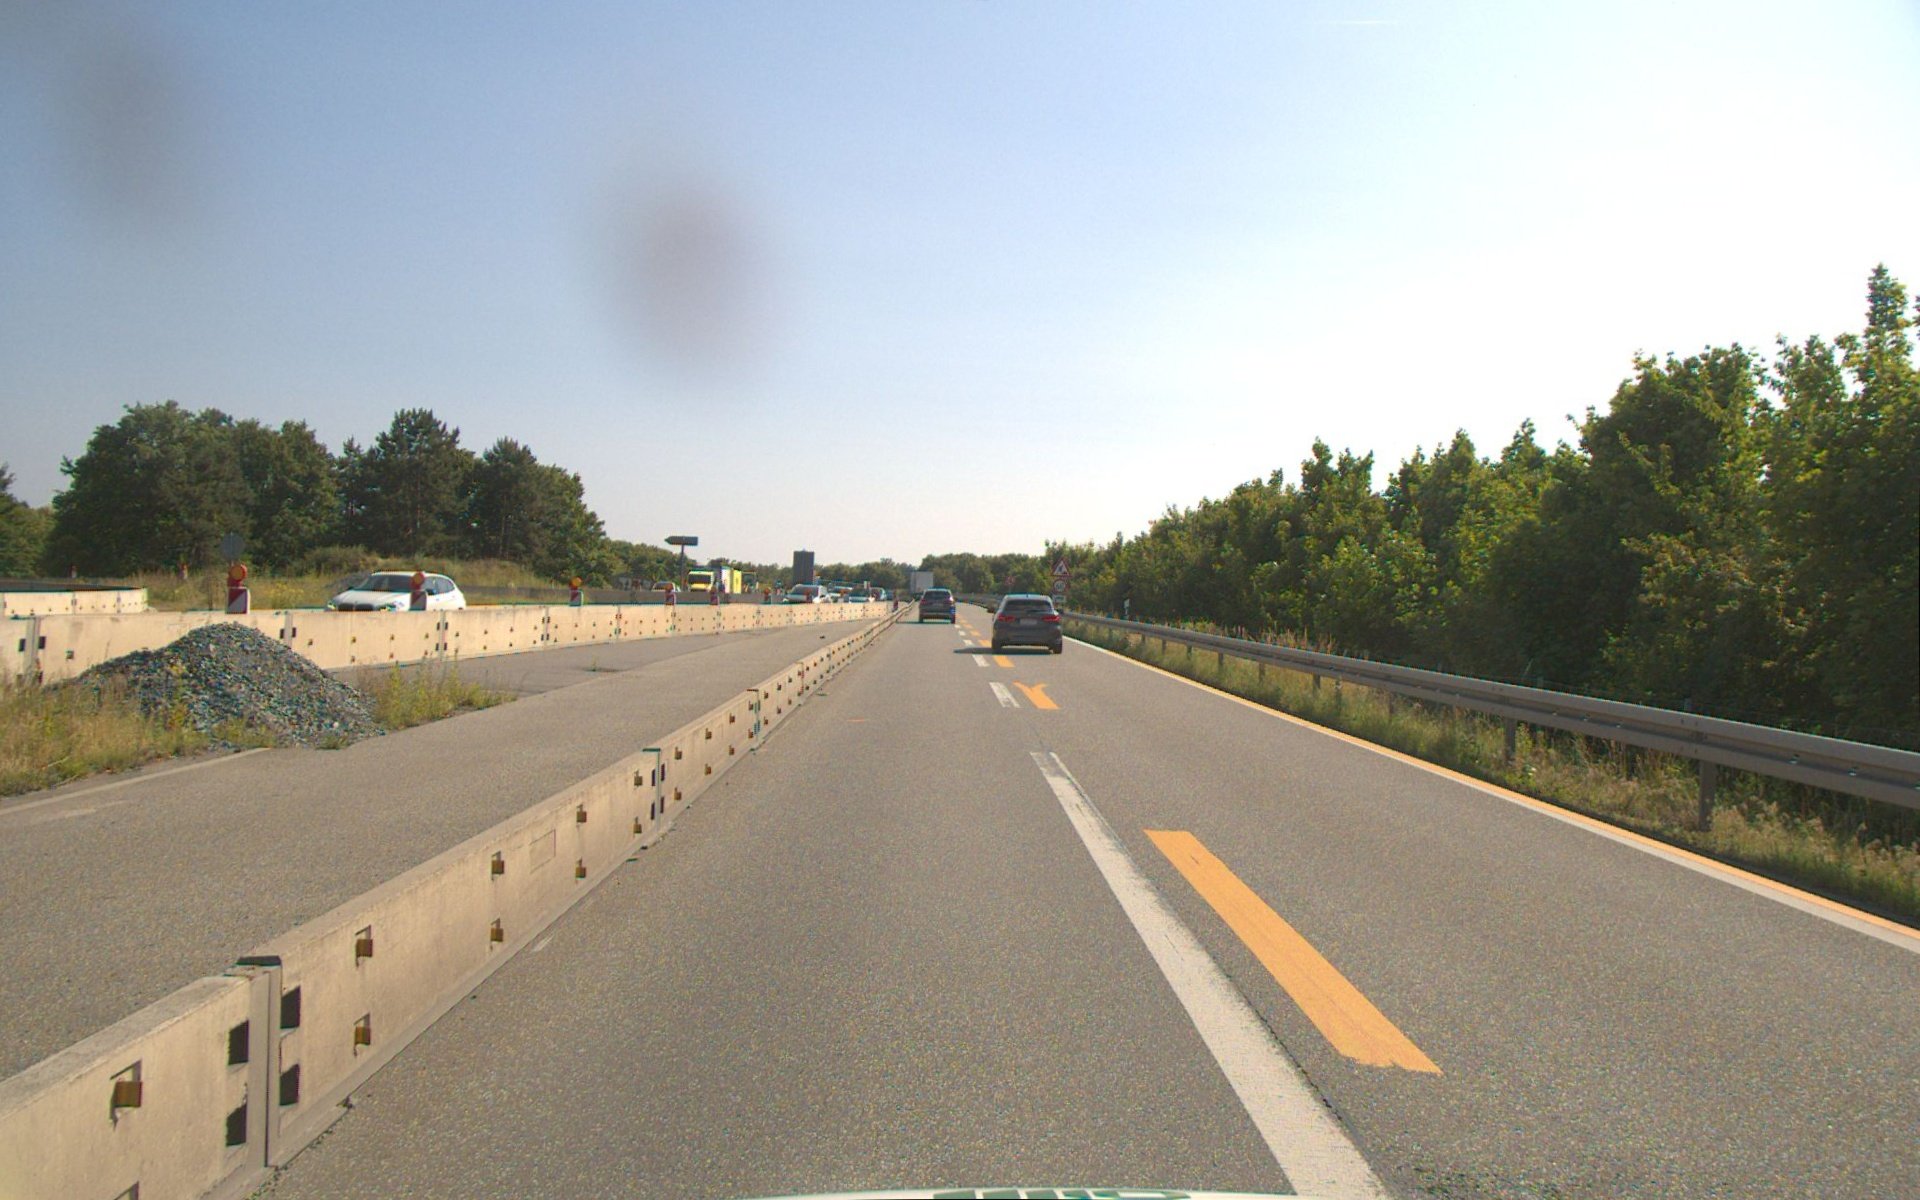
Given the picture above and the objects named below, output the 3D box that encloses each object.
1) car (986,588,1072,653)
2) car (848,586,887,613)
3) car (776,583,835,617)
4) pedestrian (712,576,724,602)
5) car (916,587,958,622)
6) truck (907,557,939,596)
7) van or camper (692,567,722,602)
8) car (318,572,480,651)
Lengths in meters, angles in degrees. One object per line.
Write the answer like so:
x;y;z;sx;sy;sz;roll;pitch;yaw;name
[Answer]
1.724;0.498;42.581;1.882;1.520;3.999;2;0;-2;car
-5.568;-0.049;100.186;1.675;1.542;4.181;1;0;6;car
-7.544;-0.009;81.236;1.951;1.542;4.584;1;0;6;car
-17.554;-0.807;119.898;0.728;1.852;0.795;2;0;-12;pedestrian
-1.072;0.212;79.088;1.953;1.594;4.000;1;1;0;car
-5.160;-3.209;226.273;3.686;4.997;14.126;2;0;-4;truck
-18.766;-1.147;122.885;1.955;2.419;6.193;2;0;-6;van or camper
-12.354;0.217;36.729;1.779;1.636;4.442;1;0;5;car
